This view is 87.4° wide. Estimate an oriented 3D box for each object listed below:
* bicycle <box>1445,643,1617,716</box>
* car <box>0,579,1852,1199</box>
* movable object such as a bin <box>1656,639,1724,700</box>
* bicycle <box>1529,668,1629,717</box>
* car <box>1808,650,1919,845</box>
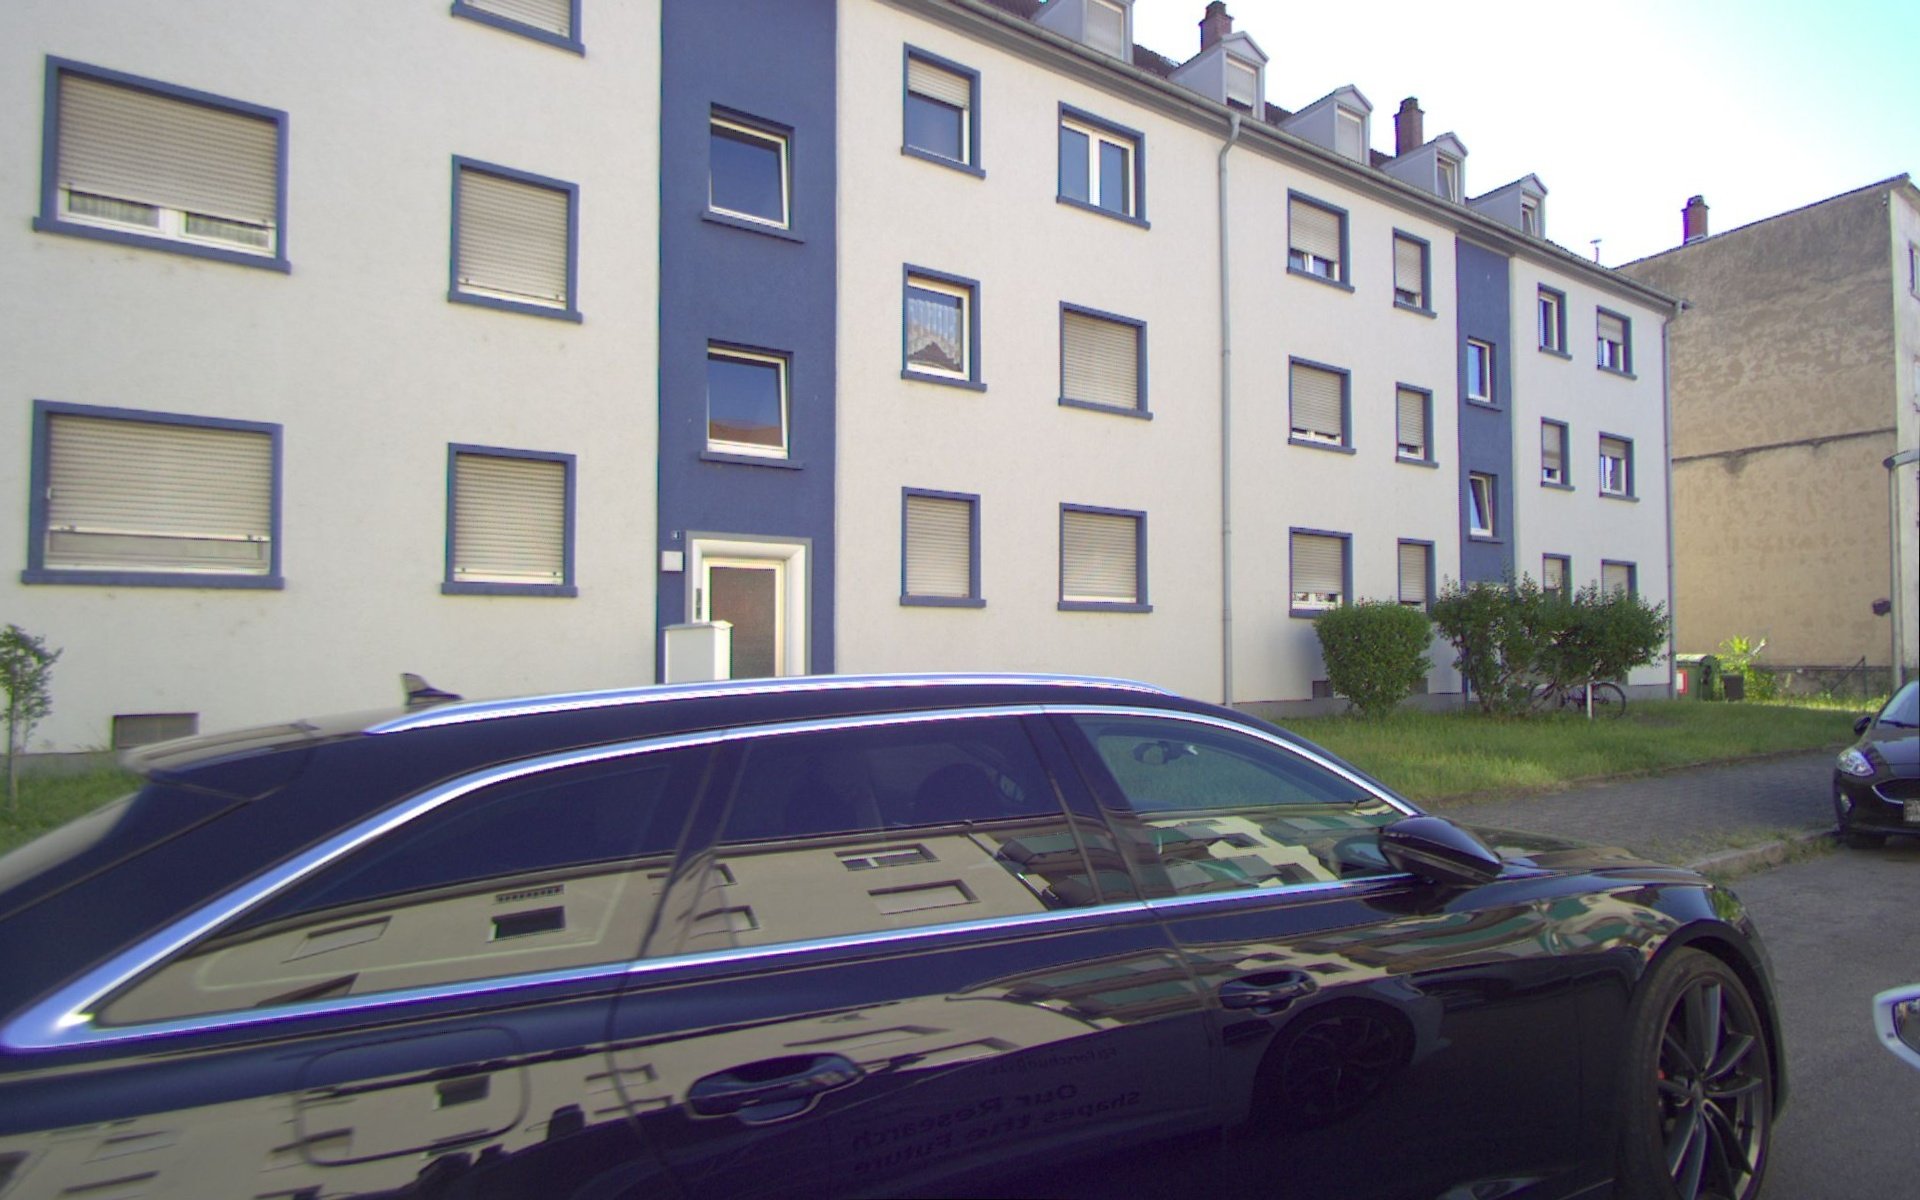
[{"bbox_3d":[10.451,1.419,18.508,0.767,1.145,2.647,2,0,-39],"label":"bicycle"},{"bbox_3d":[0.073,0.837,2.493,4.543,1.449,1.737,3,-6,-29],"label":"car"},{"bbox_3d":[19.372,1.858,26.663,1.345,1.559,1.061,3,-5,-36],"label":"movable object such as a bin"},{"bbox_3d":[12.449,1.847,20.251,0.541,0.948,1.639,2,-5,-31],"label":"bicycle"},{"bbox_3d":[8.905,1.183,8.482,3.832,1.462,1.649,3,-5,-34],"label":"car"}]
